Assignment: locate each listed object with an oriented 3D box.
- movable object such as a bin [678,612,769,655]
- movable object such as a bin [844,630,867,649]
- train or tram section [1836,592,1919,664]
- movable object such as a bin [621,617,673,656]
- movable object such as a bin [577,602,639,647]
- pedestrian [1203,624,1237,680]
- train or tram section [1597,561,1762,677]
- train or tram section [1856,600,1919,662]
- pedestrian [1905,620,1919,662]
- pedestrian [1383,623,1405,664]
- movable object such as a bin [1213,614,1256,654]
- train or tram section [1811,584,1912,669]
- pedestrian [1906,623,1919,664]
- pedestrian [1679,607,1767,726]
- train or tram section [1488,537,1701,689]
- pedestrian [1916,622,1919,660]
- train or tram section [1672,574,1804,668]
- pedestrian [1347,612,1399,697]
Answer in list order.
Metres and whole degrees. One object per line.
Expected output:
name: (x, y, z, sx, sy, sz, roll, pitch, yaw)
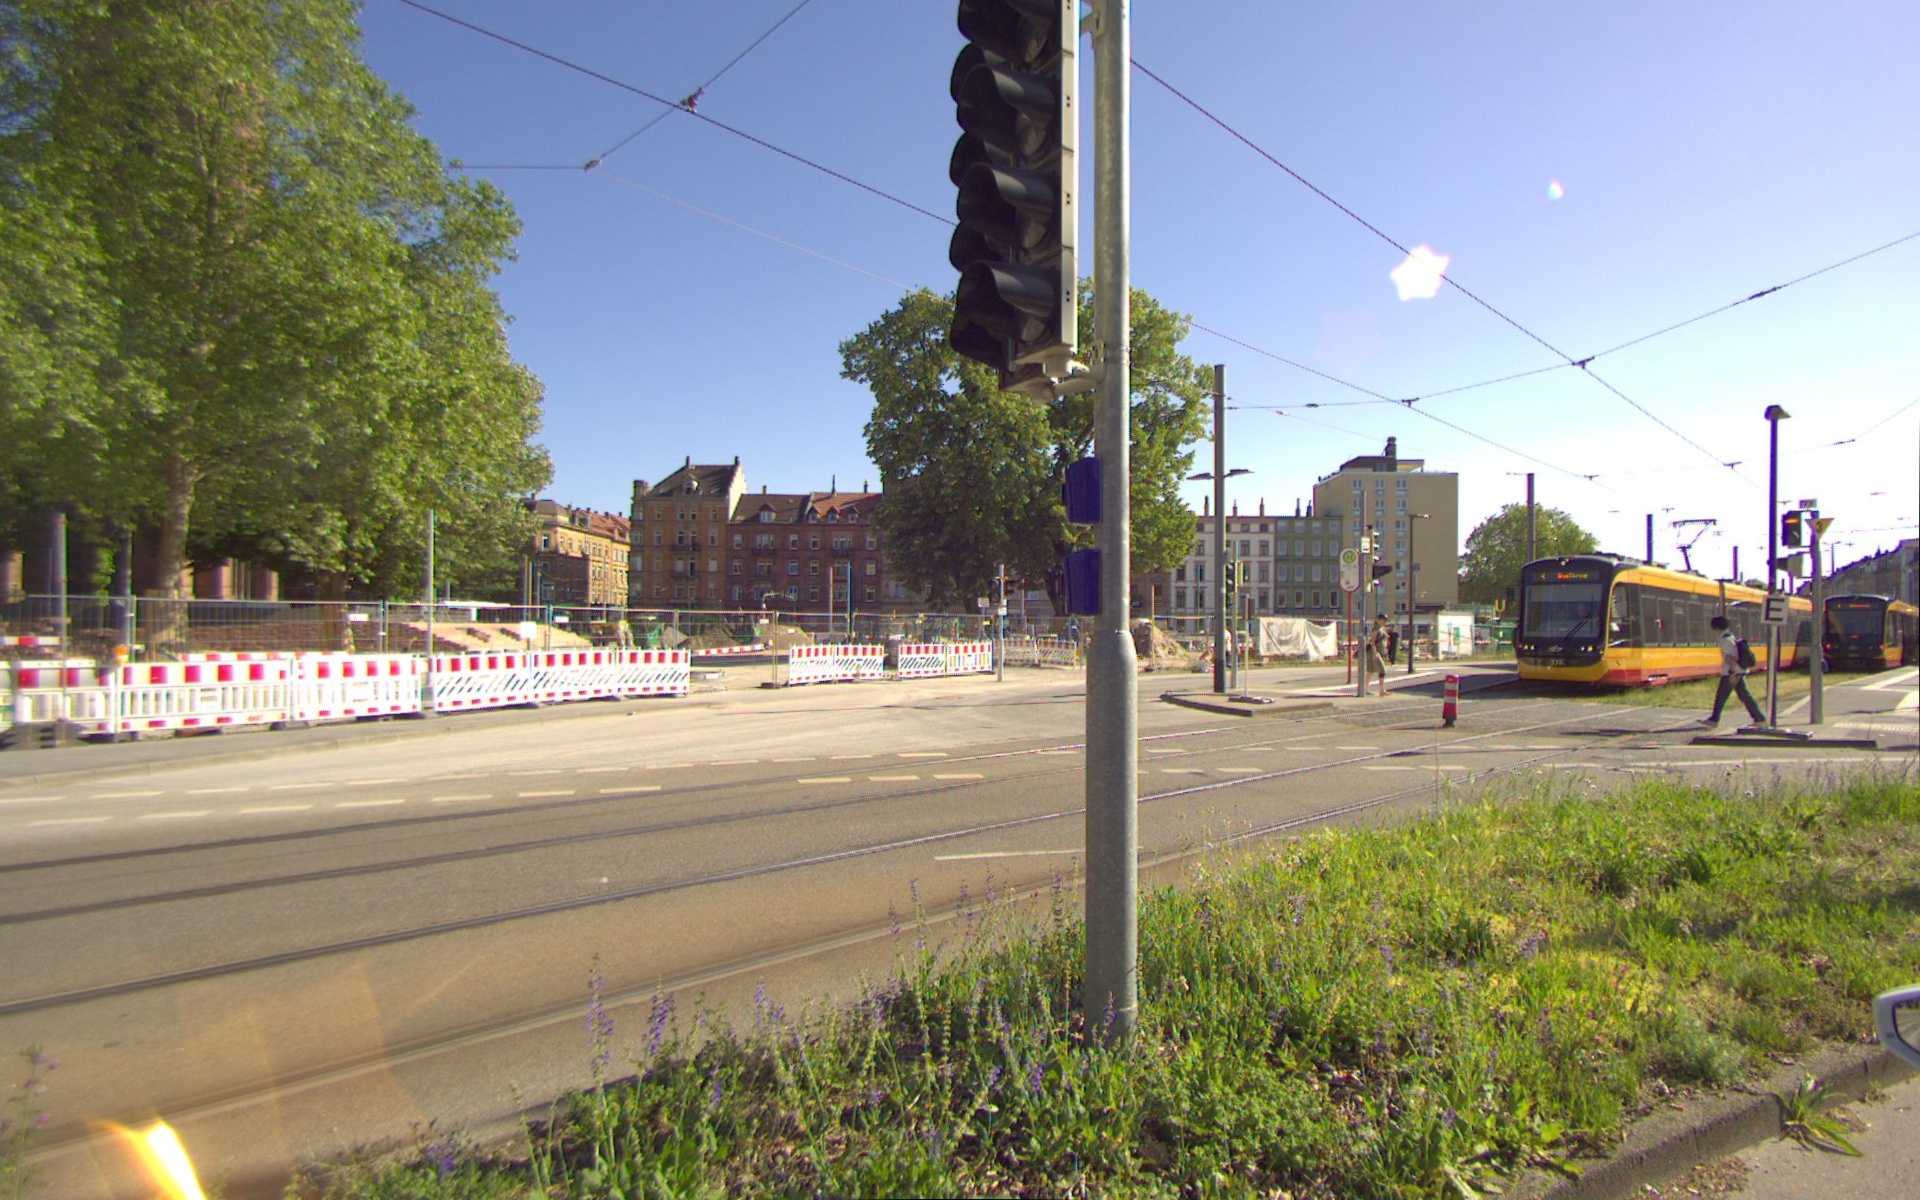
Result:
movable object such as a bin: (-16.956, 2.406, 72.205, 5.968, 2.795, 1.894, 2, -1, -3)
movable object such as a bin: (-10.023, 3.794, 96.854, 1.716, 1.702, 3.802, 0, -1, 2)
train or tram section: (49.841, 1.539, 54.377, 10.472, 3.554, 2.843, 2, -2, -44)
movable object such as a bin: (-20.057, 2.332, 64.553, 1.857, 2.377, 4.230, 2, -1, 0)
movable object such as a bin: (-26.410, 1.831, 75.643, 3.060, 3.214, 5.244, 2, -1, -5)
pedestrian: (8.404, 1.667, 32.454, 0.955, 1.791, 0.865, 0, -2, 23)
train or tram section: (25.625, 0.720, 35.473, 10.537, 3.554, 2.790, 2, -1, -43)
train or tram section: (57.402, 1.886, 61.706, 10.472, 3.554, 2.843, 2, -1, -44)
pedestrian: (44.001, 1.875, 46.142, 0.756, 1.908, 0.838, 3, -1, -45)
pedestrian: (19.330, 1.916, 44.738, 0.795, 1.791, 0.661, 2, -2, -45)
movable object such as a bin: (20.665, 2.522, 75.705, 1.798, 2.833, 3.997, 2, -1, -5)
train or tram section: (42.349, 1.263, 47.053, 10.472, 3.554, 2.843, 2, -2, -44)
pedestrian: (44.830, 2.044, 46.961, 0.756, 1.908, 0.838, 3, -1, -45)
pedestrian: (12.428, 1.075, 16.370, 0.756, 1.856, 1.006, 3, -4, -45)
train or tram section: (18.075, 0.465, 28.159, 10.411, 3.554, 2.789, 2, -2, -45)
pedestrian: (48.380, 2.079, 50.254, 0.697, 1.881, 0.668, 3, -1, -38)
train or tram section: (33.435, 0.927, 42.937, 11.132, 3.554, 2.790, 2, -1, -43)
pedestrian: (9.420, 1.224, 22.918, 0.888, 1.875, 0.760, -1, 1, 39)
